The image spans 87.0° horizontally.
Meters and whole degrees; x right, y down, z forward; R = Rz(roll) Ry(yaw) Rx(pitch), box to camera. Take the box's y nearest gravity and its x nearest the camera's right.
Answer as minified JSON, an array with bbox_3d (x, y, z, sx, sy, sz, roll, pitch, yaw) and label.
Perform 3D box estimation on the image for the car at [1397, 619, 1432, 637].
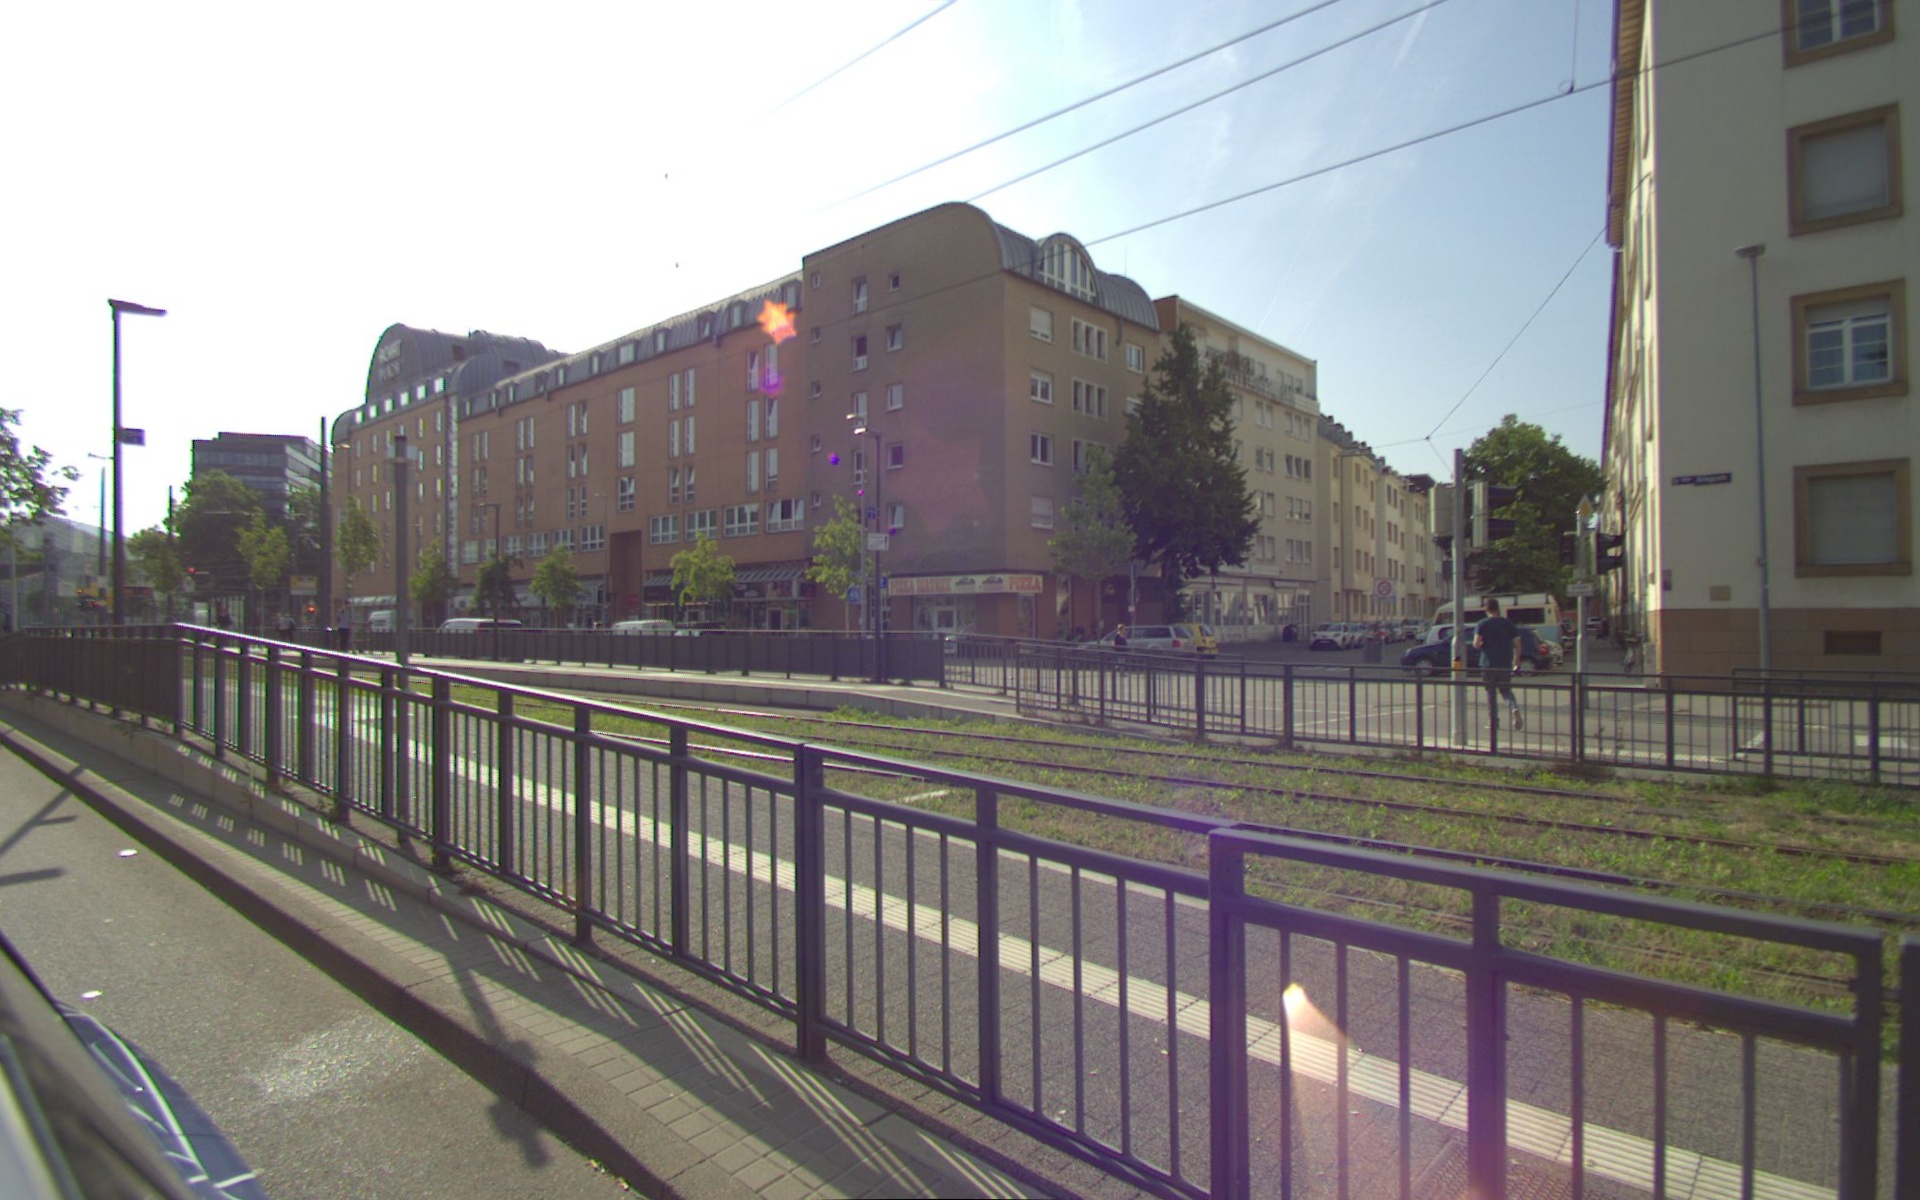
[{"bbox_3d":[35.947,2.231,79.983,1.824,1.386,3.953,-1,-2,34],"label":"car"}]

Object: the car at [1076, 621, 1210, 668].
[{"bbox_3d":[6.679,1.600,37.107,4.548,1.612,1.747,-2,-2,37],"label":"car"}]

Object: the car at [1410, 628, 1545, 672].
[{"bbox_3d":[17.727,1.692,34.750,3.918,1.426,1.658,-1,-2,36],"label":"car"}]

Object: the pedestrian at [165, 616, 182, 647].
[{"bbox_3d":[-46.408,1.867,59.739,0.698,1.773,0.644,-1,1,42],"label":"pedestrian"}]

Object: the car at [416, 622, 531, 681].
[{"bbox_3d":[-17.856,1.830,37.060,4.928,2.029,1.973,-2,-2,41],"label":"car"}]

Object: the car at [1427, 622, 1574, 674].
[{"bbox_3d":[17.107,1.480,32.082,3.918,1.544,1.658,-1,-2,36],"label":"car"}]

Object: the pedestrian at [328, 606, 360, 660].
[{"bbox_3d":[-21.978,1.157,36.092,0.939,1.886,0.731,-2,-2,41],"label":"pedestrian"}]

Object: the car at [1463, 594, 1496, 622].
[{"bbox_3d":[57.742,0.910,112.415,2.581,2.928,5.920,-1,-2,34],"label":"car"}]

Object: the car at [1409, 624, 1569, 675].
[{"bbox_3d":[15.670,1.432,30.053,3.992,1.416,1.658,-1,-2,36],"label":"car"}]

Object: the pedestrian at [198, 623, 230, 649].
[{"bbox_3d":[-37.376,1.795,50.690,0.675,1.255,1.141,-2,-3,40],"label":"pedestrian"}]

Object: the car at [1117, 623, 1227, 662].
[{"bbox_3d":[8.735,1.740,41.845,3.996,1.519,1.974,-2,-2,39],"label":"car"}]

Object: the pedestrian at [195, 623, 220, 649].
[{"bbox_3d":[-39.135,1.875,52.639,0.807,1.324,0.861,-2,-2,38],"label":"pedestrian"}]

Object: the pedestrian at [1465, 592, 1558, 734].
[{"bbox_3d":[7.617,0.847,14.036,0.856,1.882,1.066,-1,-1,14],"label":"pedestrian"}]

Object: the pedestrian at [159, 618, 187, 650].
[{"bbox_3d":[-42.920,1.860,55.182,0.825,1.760,0.784,1,-3,5],"label":"pedestrian"}]

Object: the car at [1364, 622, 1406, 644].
[{"bbox_3d":[28.100,2.153,66.830,1.824,1.386,3.953,-1,-2,34],"label":"car"}]

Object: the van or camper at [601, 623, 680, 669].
[{"bbox_3d":[-14.891,2.110,47.092,1.970,2.029,4.003,1,-2,-44],"label":"van or camper"}]

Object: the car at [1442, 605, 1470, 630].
[{"bbox_3d":[47.352,1.701,96.508,1.824,2.329,4.065,-1,-2,34],"label":"car"}]

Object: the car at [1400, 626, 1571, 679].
[{"bbox_3d":[14.322,1.395,27.667,3.991,1.364,1.566,-1,-2,35],"label":"car"}]

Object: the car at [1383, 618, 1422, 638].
[{"bbox_3d":[31.268,1.963,71.519,1.824,1.386,3.953,-1,-2,34],"label":"car"}]

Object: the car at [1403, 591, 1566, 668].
[{"bbox_3d":[18.937,1.068,36.645,5.041,2.603,1.977,-1,-2,35],"label":"car"}]

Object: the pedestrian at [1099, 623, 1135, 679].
[{"bbox_3d":[4.640,1.495,29.869,0.807,1.595,0.671,-2,-2,38],"label":"pedestrian"}]

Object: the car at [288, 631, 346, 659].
[{"bbox_3d":[-42.699,2.951,67.167,4.628,1.819,1.973,-2,-2,40],"label":"car"}]

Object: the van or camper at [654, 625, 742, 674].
[{"bbox_3d":[-11.211,2.063,43.115,1.907,1.983,4.003,1,-2,-44],"label":"van or camper"}]

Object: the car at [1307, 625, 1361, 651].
[{"bbox_3d":[20.393,2.047,55.078,1.825,1.386,3.952,-1,-2,35],"label":"car"}]

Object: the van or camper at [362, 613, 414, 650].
[{"bbox_3d":[-45.049,2.497,79.627,5.351,2.823,1.972,-1,-2,42],"label":"van or camper"}]

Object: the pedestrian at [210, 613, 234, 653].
[{"bbox_3d":[-35.333,1.589,48.430,0.554,1.900,0.797,-1,-2,36],"label":"pedestrian"}]

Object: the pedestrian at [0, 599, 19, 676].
[{"bbox_3d":[-25.874,1.007,27.076,1.027,2.029,0.825,-1,1,38],"label":"pedestrian"}]

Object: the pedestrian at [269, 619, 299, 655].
[{"bbox_3d":[-28.781,1.578,43.109,0.803,1.542,0.676,-1,-1,10],"label":"pedestrian"}]
